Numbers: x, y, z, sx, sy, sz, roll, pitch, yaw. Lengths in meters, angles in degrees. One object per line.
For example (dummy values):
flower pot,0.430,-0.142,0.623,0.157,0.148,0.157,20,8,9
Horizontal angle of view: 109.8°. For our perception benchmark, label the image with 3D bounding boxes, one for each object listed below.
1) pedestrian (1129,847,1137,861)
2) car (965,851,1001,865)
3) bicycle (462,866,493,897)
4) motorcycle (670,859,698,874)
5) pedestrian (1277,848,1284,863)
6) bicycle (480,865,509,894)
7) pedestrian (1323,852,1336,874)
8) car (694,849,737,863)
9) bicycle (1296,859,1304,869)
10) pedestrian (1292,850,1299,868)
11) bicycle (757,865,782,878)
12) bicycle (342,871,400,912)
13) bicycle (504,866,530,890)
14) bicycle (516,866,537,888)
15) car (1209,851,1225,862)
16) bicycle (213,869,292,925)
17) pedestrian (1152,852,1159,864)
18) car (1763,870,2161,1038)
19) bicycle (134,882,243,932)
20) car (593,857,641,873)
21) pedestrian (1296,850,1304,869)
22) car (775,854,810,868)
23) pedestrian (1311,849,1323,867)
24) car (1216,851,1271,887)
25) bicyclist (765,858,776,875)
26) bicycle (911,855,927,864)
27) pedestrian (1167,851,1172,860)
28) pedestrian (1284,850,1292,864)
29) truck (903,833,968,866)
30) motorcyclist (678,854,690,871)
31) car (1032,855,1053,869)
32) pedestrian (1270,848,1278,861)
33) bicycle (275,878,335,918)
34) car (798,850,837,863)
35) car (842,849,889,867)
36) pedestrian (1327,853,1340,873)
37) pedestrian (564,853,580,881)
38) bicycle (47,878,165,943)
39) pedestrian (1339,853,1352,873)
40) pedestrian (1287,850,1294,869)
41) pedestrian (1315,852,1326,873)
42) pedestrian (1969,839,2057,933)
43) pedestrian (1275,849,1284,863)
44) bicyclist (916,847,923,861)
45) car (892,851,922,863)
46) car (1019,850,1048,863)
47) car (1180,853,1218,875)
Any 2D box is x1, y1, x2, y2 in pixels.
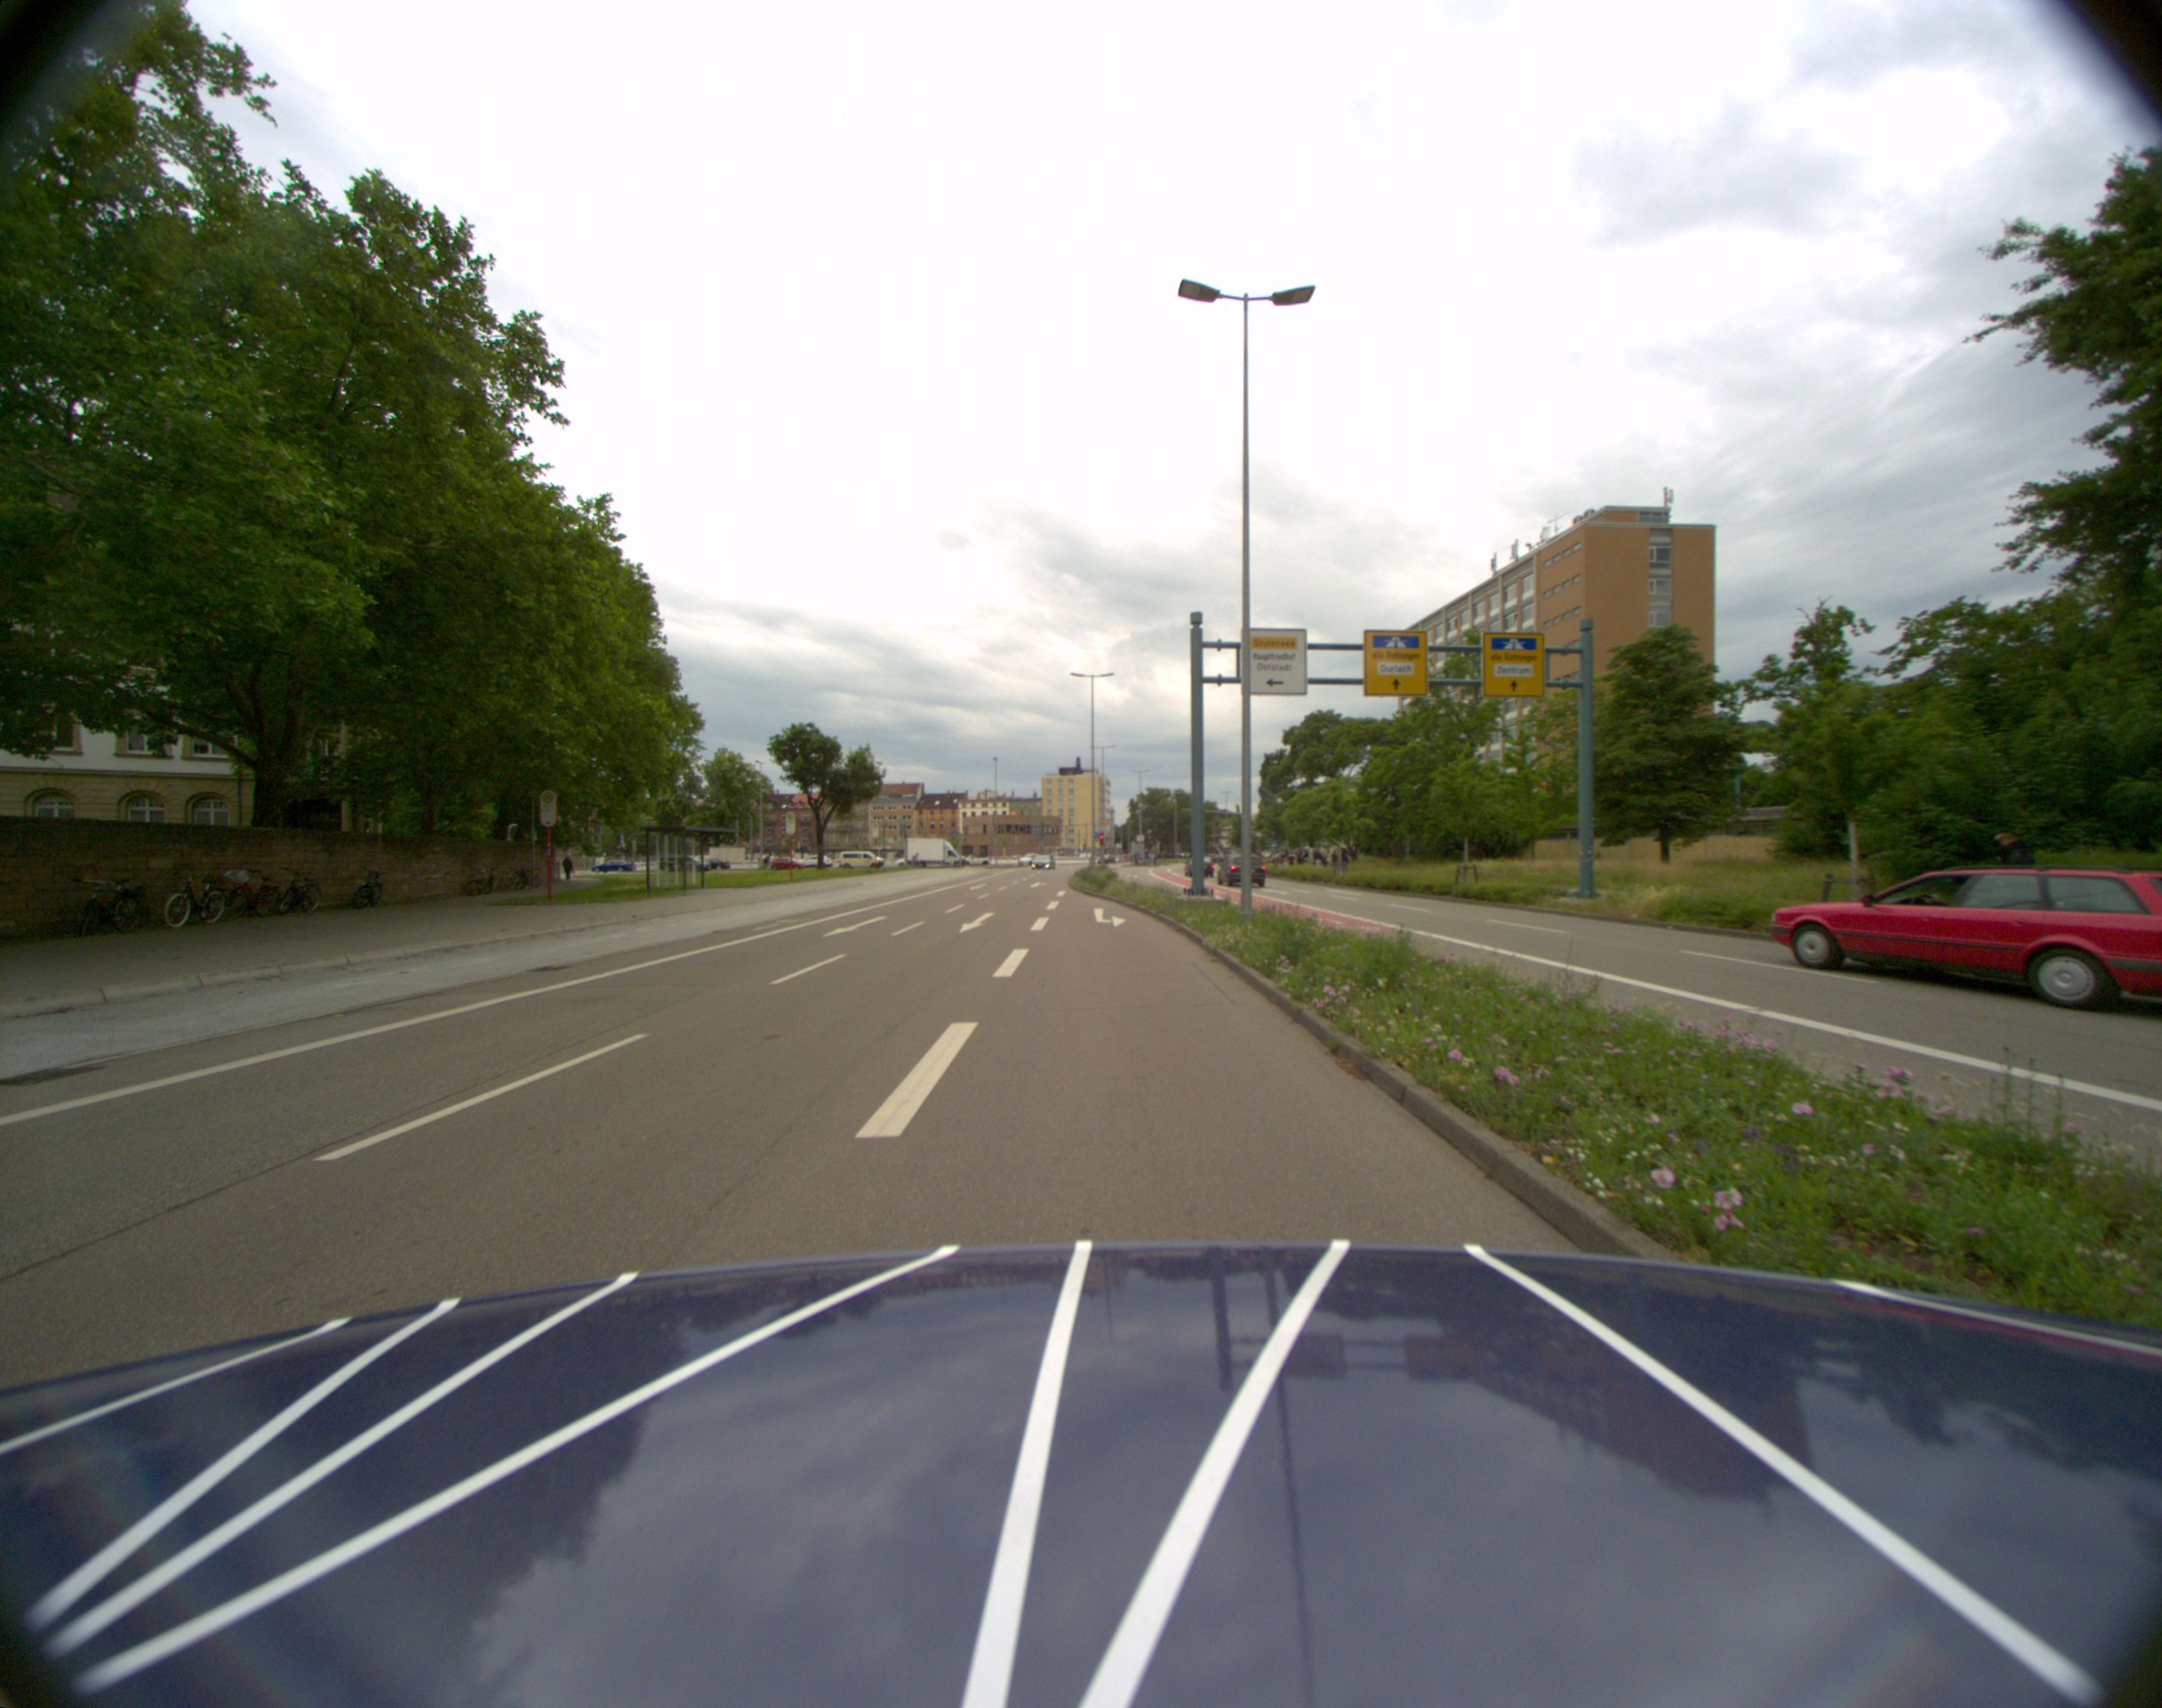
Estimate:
pedestrian,6.862,0.001,99.696,0.917,1.794,0.541,1,1,17
car,-11.959,0.492,92.742,3.917,1.753,1.835,1,0,-28
bicycle,-23.665,1.072,29.816,0.596,1.129,1.709,1,0,-25
motorcycle,-42.526,1.329,81.364,2.515,1.592,0.928,1,0,-12
pedestrian,23.739,0.201,90.455,0.638,1.790,0.762,-1,0,4
bicycle,-24.266,1.053,31.446,0.596,1.123,1.709,1,0,-25
pedestrian,19.153,0.665,58.639,0.709,1.663,0.767,1,0,-5
car,-42.816,0.238,89.032,4.283,1.628,1.689,1,0,0
bicycle,18.598,0.846,64.596,0.661,0.882,1.717,1,0,16
pedestrian,20.606,0.464,72.970,0.579,1.702,0.763,1,0,22
bicycle,-33.564,1.858,81.970,2.391,1.316,0.764,1,0,-6
bicycle,-20.505,1.054,21.988,0.599,1.098,1.652,1,0,-19
bicycle,-25.652,1.072,34.573,0.596,1.053,1.709,1,0,-25
bicycle,-26.363,1.098,36.143,0.552,0.986,1.633,1,0,-28
car,23.277,0.427,130.177,1.812,1.657,3.955,1,1,23
bicycle,-19.578,0.989,17.995,0.501,1.214,1.624,1,0,-17
pedestrian,9.853,0.526,100.101,0.777,1.657,0.706,1,0,-8
car,10.567,0.945,8.675,1.718,1.410,4.294,0,0,1
bicycle,-19.029,1.106,16.257,0.656,0.945,1.767,1,0,-17
car,-54.202,1.272,88.825,4.430,1.735,1.764,1,0,-5
pedestrian,18.604,0.454,64.592,0.661,1.622,0.764,1,0,16
car,-32.230,0.817,84.982,3.431,1.372,1.288,-1,-7,-5
pedestrian,21.419,0.326,69.015,0.635,1.603,0.829,-2,0,-21
car,8.321,0.732,39.223,1.925,1.655,4.398,1,1,1
bicyclist,-33.480,1.354,81.978,0.896,1.849,0.764,1,0,-5
bicycle,-17.684,0.569,82.974,1.695,0.910,0.767,1,0,-10
pedestrian,18.579,0.309,159.511,0.987,2.002,0.909,1,0,14
pedestrian,22.004,0.272,80.633,0.637,1.471,0.762,1,0,4
truck,-16.285,-0.532,85.511,6.852,3.393,2.559,-1,2,-5
motorcyclist,-42.516,0.877,81.345,0.918,1.818,0.928,1,0,-12
car,-3.616,0.747,71.931,1.785,1.255,3.830,-1,1,1
pedestrian,24.233,0.045,95.388,0.708,1.661,0.890,-2,0,4
bicycle,-20.097,1.125,19.708,0.417,0.937,1.523,1,0,-17
car,-31.093,0.321,89.869,4.031,1.466,1.820,1,0,-6
car,-24.109,0.457,85.132,4.712,1.909,1.919,-1,3,-3
pedestrian,17.368,0.598,52.214,0.646,1.350,0.711,1,0,-1
pedestrian,-32.084,0.808,47.913,0.759,1.725,0.820,0,1,-39
bicycle,-18.449,1.040,14.432,0.722,1.093,1.788,1,0,-28
pedestrian,18.154,0.611,52.100,0.646,1.354,0.680,1,0,-2
pedestrian,17.911,0.468,64.983,0.575,1.599,0.617,1,0,16
pedestrian,18.473,0.655,58.573,0.587,1.650,0.720,1,0,-5
pedestrian,17.559,0.587,14.334,0.621,1.719,0.818,1,0,0
pedestrian,21.048,0.258,80.440,0.730,1.471,0.813,1,0,4
bicyclist,-17.636,0.036,82.985,0.740,1.499,0.767,1,0,-10
car,-20.689,0.336,90.473,3.432,1.382,1.518,1,0,-9
car,-5.971,0.285,96.260,1.862,1.557,4.008,1,0,26
car,8.473,0.695,54.749,1.768,1.452,4.790,1,1,-2
